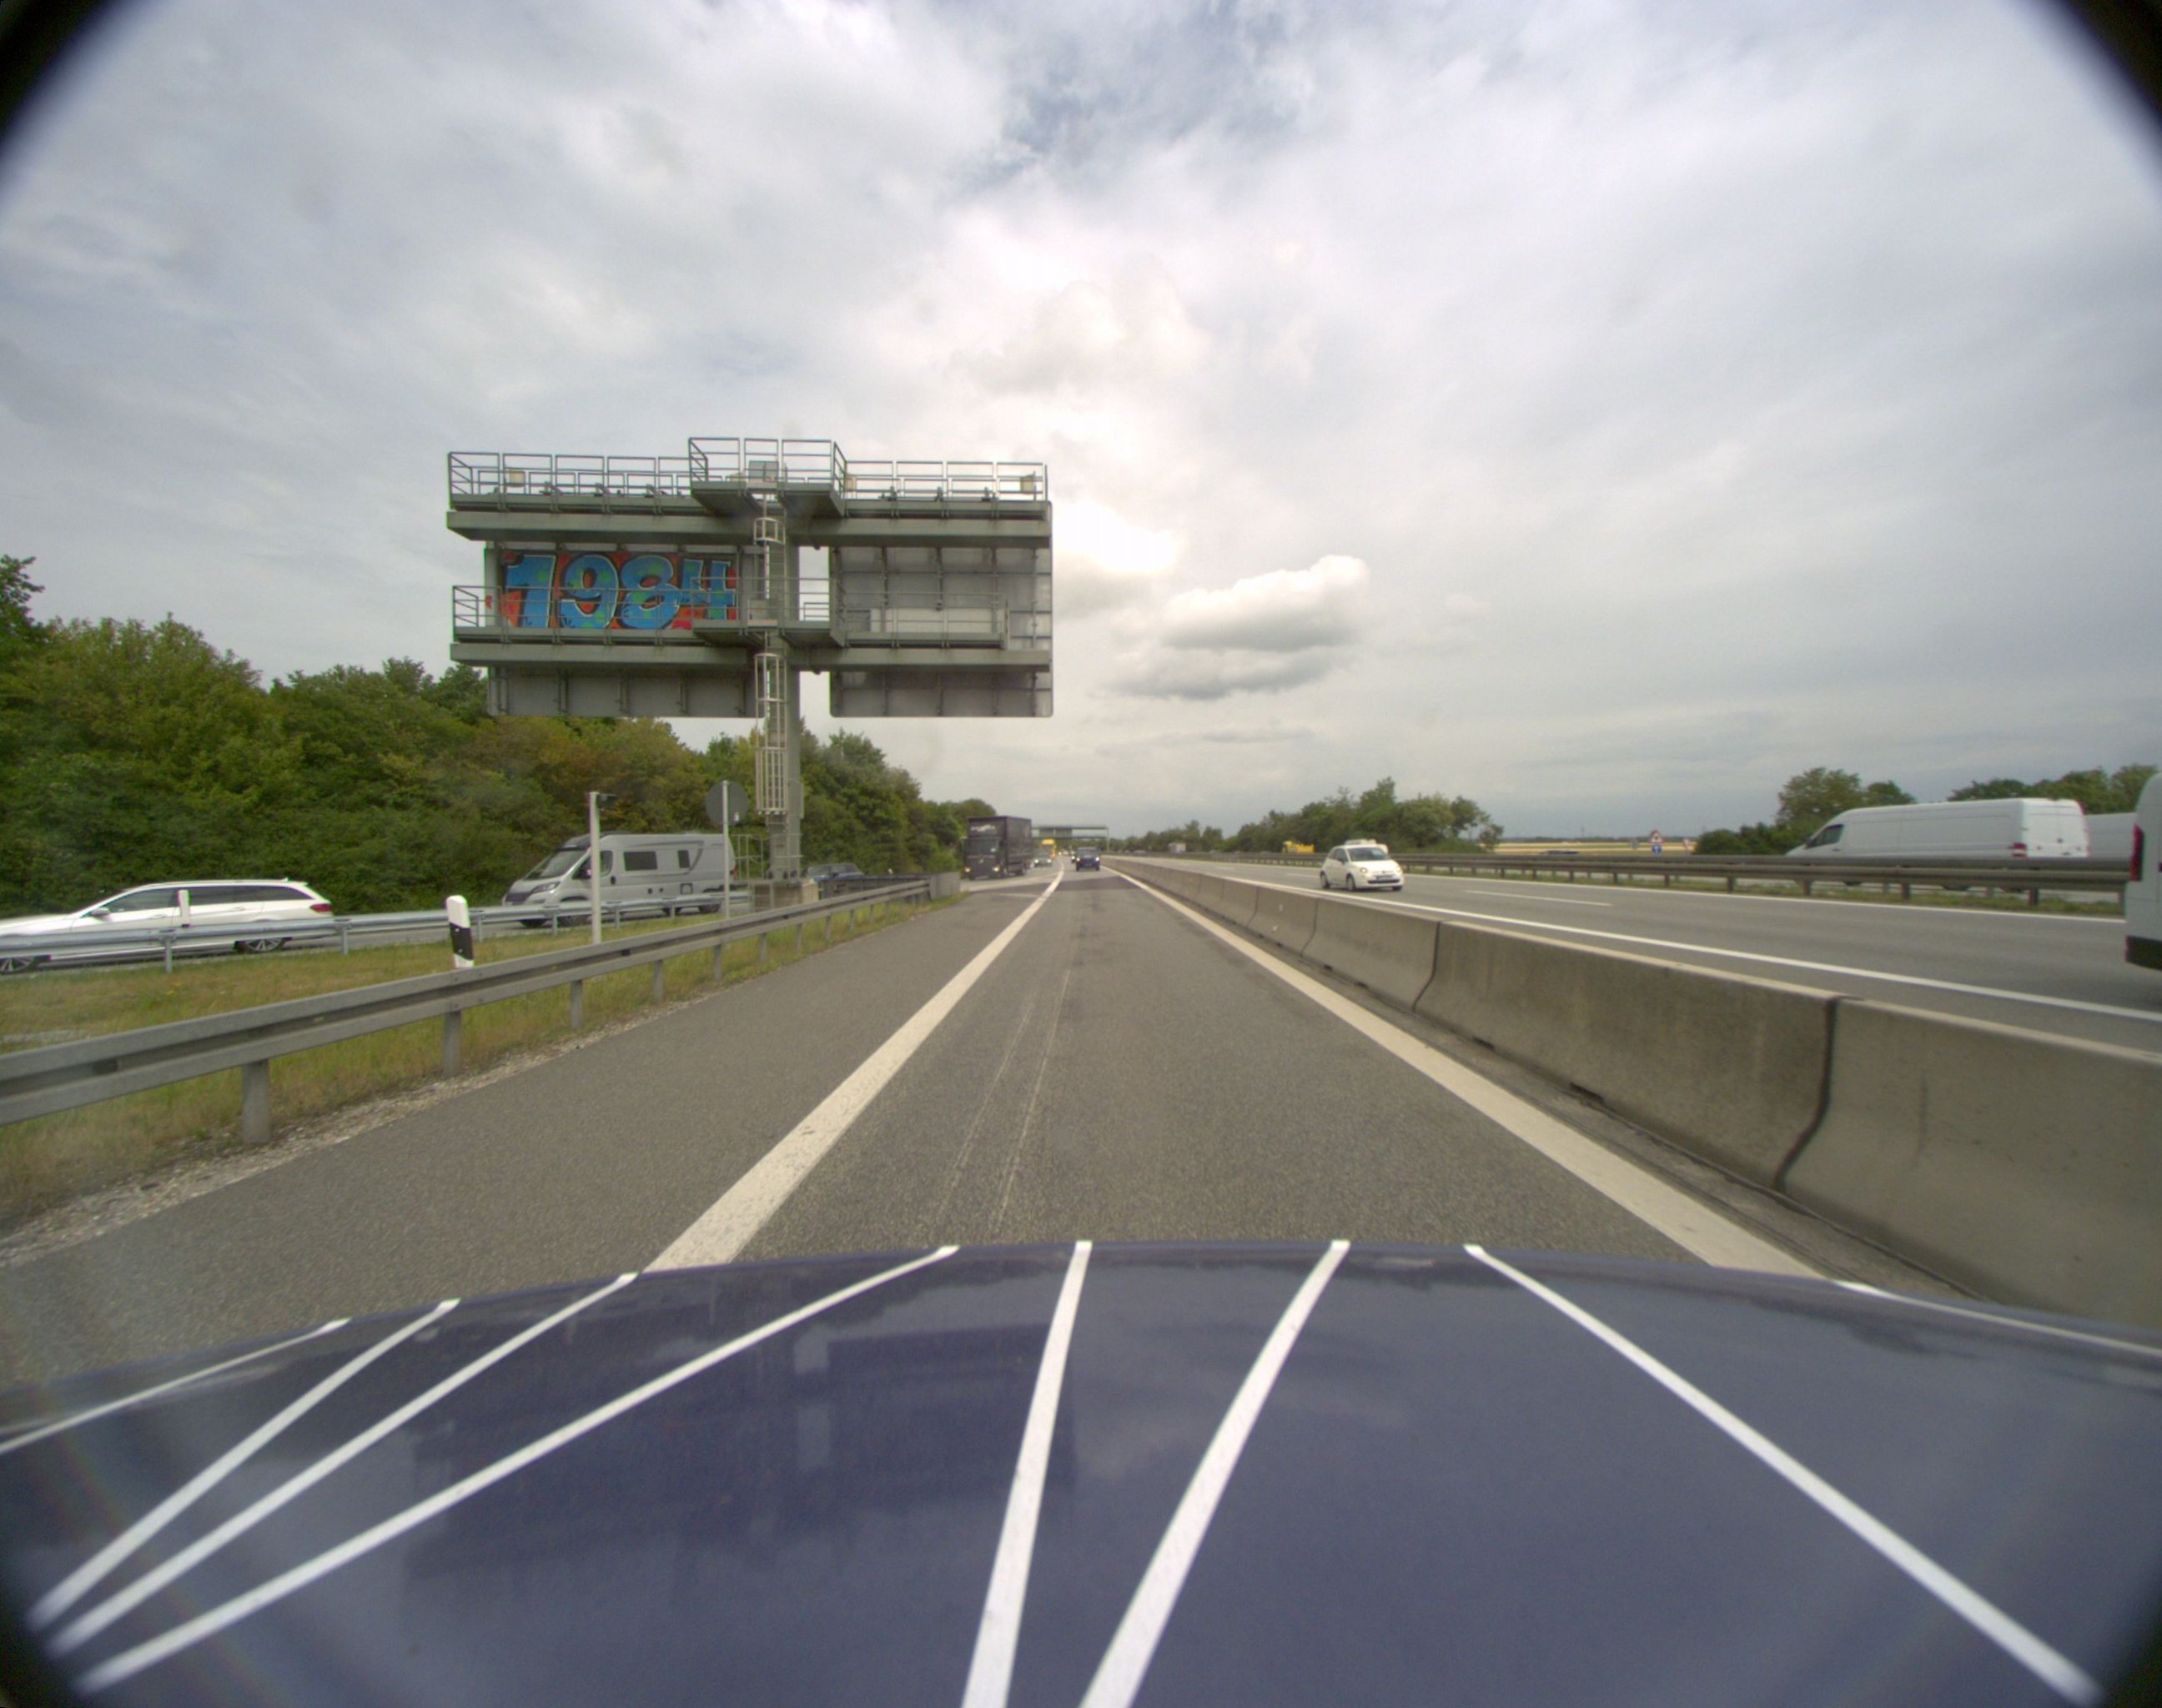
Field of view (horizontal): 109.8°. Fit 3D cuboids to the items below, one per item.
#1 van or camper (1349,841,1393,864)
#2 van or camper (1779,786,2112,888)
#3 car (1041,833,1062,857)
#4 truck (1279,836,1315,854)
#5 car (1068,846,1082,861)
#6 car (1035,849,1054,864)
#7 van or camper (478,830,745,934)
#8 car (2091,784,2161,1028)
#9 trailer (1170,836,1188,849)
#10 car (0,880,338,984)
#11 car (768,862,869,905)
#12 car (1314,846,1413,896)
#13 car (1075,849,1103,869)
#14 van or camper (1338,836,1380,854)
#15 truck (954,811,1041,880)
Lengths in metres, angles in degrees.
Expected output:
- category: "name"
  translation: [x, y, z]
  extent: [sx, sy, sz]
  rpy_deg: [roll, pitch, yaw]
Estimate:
- category: "van or camper"
  translation: [24.552, -0.121, 64.472]
  extent: [1.999, 1.818, 4.346]
  rpy_deg: [-2, 1, -1]
- category: "van or camper"
  translation: [25.876, -0.476, 23.385]
  extent: [2.193, 2.604, 6.902]
  rpy_deg: [-2, 1, -3]
- category: "car"
  translation: [-5.794, -1.763, 151.273]
  extent: [3.395, 4.458, 11.605]
  rpy_deg: [-2, 1, 1]
- category: "truck"
  translation: [34.657, -1.424, 122.297]
  extent: [2.914, 2.758, 8.778]
  rpy_deg: [-1, 1, -2]
- category: "car"
  translation: [-0.748, -0.079, 98.449]
  extent: [1.785, 1.761, 4.000]
  rpy_deg: [-2, 1, 1]
- category: "car"
  translation: [-3.793, 0.277, 79.506]
  extent: [1.866, 1.434, 3.998]
  rpy_deg: [-2, 1, -3]
- category: "van or camper"
  translation: [-13.169, 0.644, 21.944]
  extent: [2.295, 2.553, 6.171]
  rpy_deg: [-1, 1, 28]
- category: "car"
  translation: [9.599, 0.400, 3.864]
  extent: [2.005, 1.927, 5.130]
  rpy_deg: [-3, 1, -3]
- category: "trailer"
  translation: [27.046, -3.170, 210.909]
  extent: [3.206, 3.250, 9.820]
  rpy_deg: [-2, 1, -3]
- category: "car"
  translation: [-17.804, 1.373, 14.531]
  extent: [2.207, 1.493, 4.796]
  rpy_deg: [-1, 1, 36]
- category: "car"
  translation: [-10.155, 1.106, 29.683]
  extent: [1.731, 1.411, 3.670]
  rpy_deg: [-2, 1, 20]
- category: "car"
  translation: [9.158, 0.511, 24.978]
  extent: [1.685, 1.476, 3.773]
  rpy_deg: [-1, 1, -3]
- category: "car"
  translation: [0.606, 0.396, 59.016]
  extent: [1.866, 1.434, 3.998]
  rpy_deg: [-2, 1, -3]
- category: "van or camper"
  translation: [32.235, -1.057, 88.345]
  extent: [2.241, 2.002, 6.275]
  rpy_deg: [-2, 1, -4]
- category: "truck"
  translation: [-5.180, -0.564, 49.671]
  extent: [3.022, 3.932, 10.345]
  rpy_deg: [-2, 1, 8]
